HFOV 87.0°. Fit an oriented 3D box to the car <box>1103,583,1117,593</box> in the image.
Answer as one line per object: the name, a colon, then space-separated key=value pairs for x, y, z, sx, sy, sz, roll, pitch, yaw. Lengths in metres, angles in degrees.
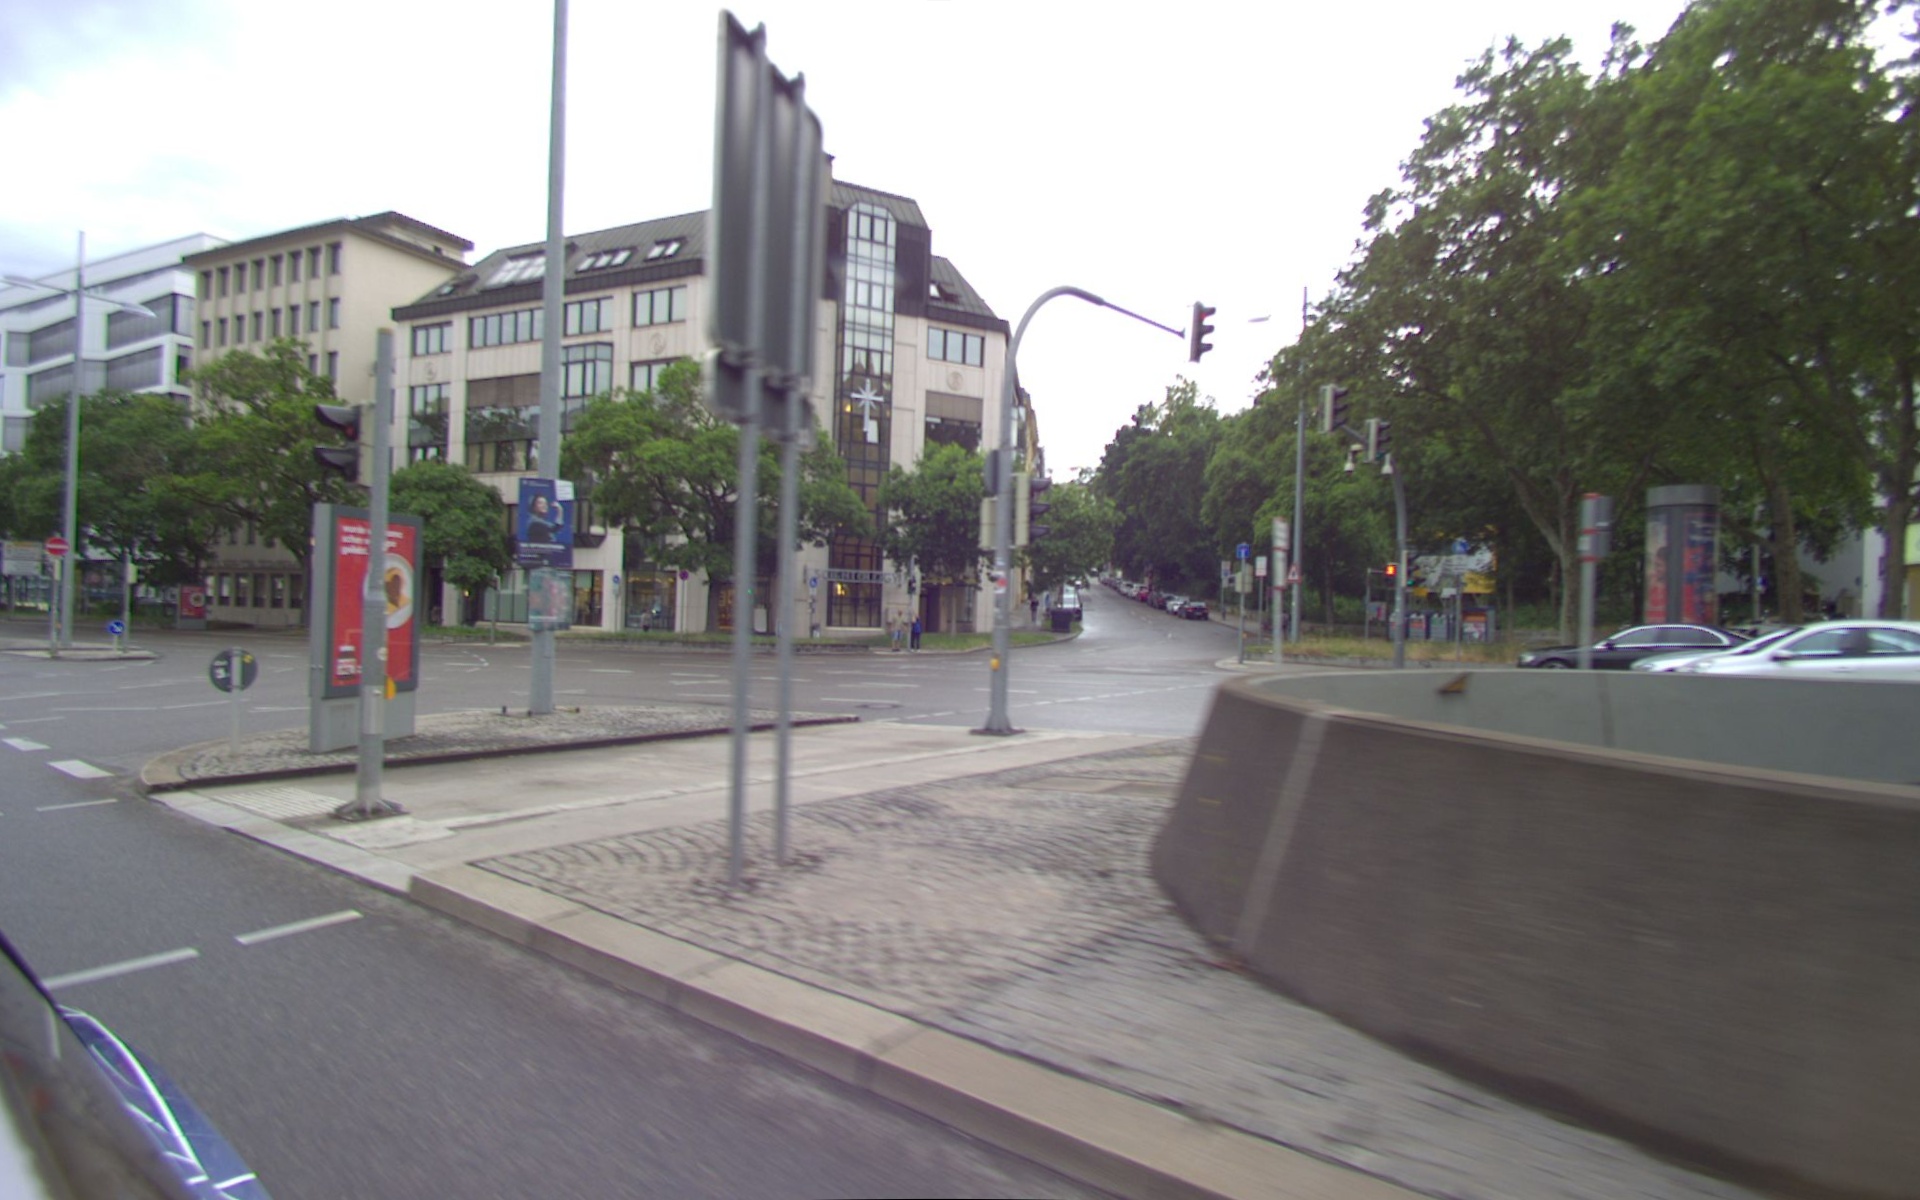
car: x=22.602 y=-1.779 z=152.862 sx=1.777 sy=1.522 sz=3.995 roll=-1 pitch=0 yaw=4

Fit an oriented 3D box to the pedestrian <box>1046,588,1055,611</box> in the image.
pedestrian: x=6.821 y=-0.024 z=76.333 sx=0.643 sy=1.674 sz=0.647 roll=-1 pitch=0 yaw=13

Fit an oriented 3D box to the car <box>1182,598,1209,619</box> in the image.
car: x=17.576 y=0.615 z=75.709 sx=1.592 sy=1.473 sz=3.484 roll=0 pitch=0 yaw=8

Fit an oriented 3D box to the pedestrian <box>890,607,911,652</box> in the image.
pedestrian: x=-2.447 y=1.193 z=41.537 sx=0.582 sy=1.823 sz=0.675 roll=0 pitch=0 yaw=-44

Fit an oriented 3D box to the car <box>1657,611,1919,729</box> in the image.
car: x=12.672 y=0.950 z=14.777 sx=3.996 sy=1.573 sz=1.776 roll=-1 pitch=-1 yaw=39

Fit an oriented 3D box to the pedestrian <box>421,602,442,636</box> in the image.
pedestrian: x=-28.312 y=0.993 z=54.207 sx=0.614 sy=1.798 sz=0.826 roll=-1 pitch=0 yaw=32

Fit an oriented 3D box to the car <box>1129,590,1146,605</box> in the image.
car: x=18.921 y=-0.261 z=107.811 sx=1.592 sy=1.473 sz=3.484 roll=0 pitch=0 yaw=8

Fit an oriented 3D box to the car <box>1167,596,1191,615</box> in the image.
car: x=17.642 y=0.456 z=81.490 sx=1.592 sy=1.473 sz=3.484 roll=0 pitch=0 yaw=8

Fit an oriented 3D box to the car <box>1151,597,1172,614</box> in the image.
car: x=17.845 y=0.451 z=89.554 sx=1.592 sy=1.473 sz=3.484 roll=0 pitch=0 yaw=8

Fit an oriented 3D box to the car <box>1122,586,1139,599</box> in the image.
car: x=19.641 y=-0.869 z=116.568 sx=1.779 sy=1.522 sz=3.989 roll=-1 pitch=0 yaw=9

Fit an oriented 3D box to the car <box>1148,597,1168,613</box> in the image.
car: x=18.393 y=0.445 z=93.953 sx=1.592 sy=1.473 sz=3.484 roll=0 pitch=0 yaw=8

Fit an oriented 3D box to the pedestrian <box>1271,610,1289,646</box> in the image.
pedestrian: x=16.643 y=1.454 z=52.641 sx=0.623 sy=1.823 sz=0.675 roll=0 pitch=0 yaw=-8

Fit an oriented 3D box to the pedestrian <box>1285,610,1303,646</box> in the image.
pedestrian: x=17.371 y=1.444 z=52.593 sx=0.623 sy=1.823 sz=0.675 roll=0 pitch=0 yaw=-8

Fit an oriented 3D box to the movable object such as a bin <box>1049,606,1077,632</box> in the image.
movable object such as a bin: x=6.057 y=1.133 z=59.575 sx=1.332 sy=1.519 sz=1.073 roll=0 pitch=-1 yaw=-21

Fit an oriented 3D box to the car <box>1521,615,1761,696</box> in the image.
car: x=14.059 y=1.099 z=21.039 sx=3.994 sy=1.522 sz=1.777 roll=-1 pitch=-2 yaw=38

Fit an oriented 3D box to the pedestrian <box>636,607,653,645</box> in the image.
pedestrian: x=-15.137 y=1.255 z=48.514 sx=0.524 sy=1.798 sz=0.598 roll=-1 pitch=0 yaw=32

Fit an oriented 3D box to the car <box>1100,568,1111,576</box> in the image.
car: x=29.862 y=-5.790 z=207.521 sx=1.777 sy=1.522 sz=3.995 roll=-1 pitch=0 yaw=4

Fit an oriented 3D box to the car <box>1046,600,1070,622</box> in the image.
car: x=6.881 y=0.756 z=70.917 sx=1.592 sy=1.473 sz=3.484 roll=0 pitch=0 yaw=8

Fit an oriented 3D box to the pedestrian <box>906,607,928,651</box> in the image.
pedestrian: x=-1.788 y=1.183 z=41.831 sx=0.582 sy=1.823 sz=0.675 roll=0 pitch=0 yaw=-44

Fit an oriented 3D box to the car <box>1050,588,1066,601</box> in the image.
car: x=11.802 y=-0.601 z=122.578 sx=1.777 sy=1.522 sz=3.995 roll=-1 pitch=0 yaw=4

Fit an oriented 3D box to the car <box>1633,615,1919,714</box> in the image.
car: x=13.992 y=1.014 z=17.274 sx=3.998 sy=1.522 sz=1.776 roll=-1 pitch=-1 yaw=41

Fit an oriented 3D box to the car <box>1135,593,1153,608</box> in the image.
car: x=18.489 y=0.073 z=101.867 sx=1.592 sy=1.473 sz=3.484 roll=0 pitch=0 yaw=8
